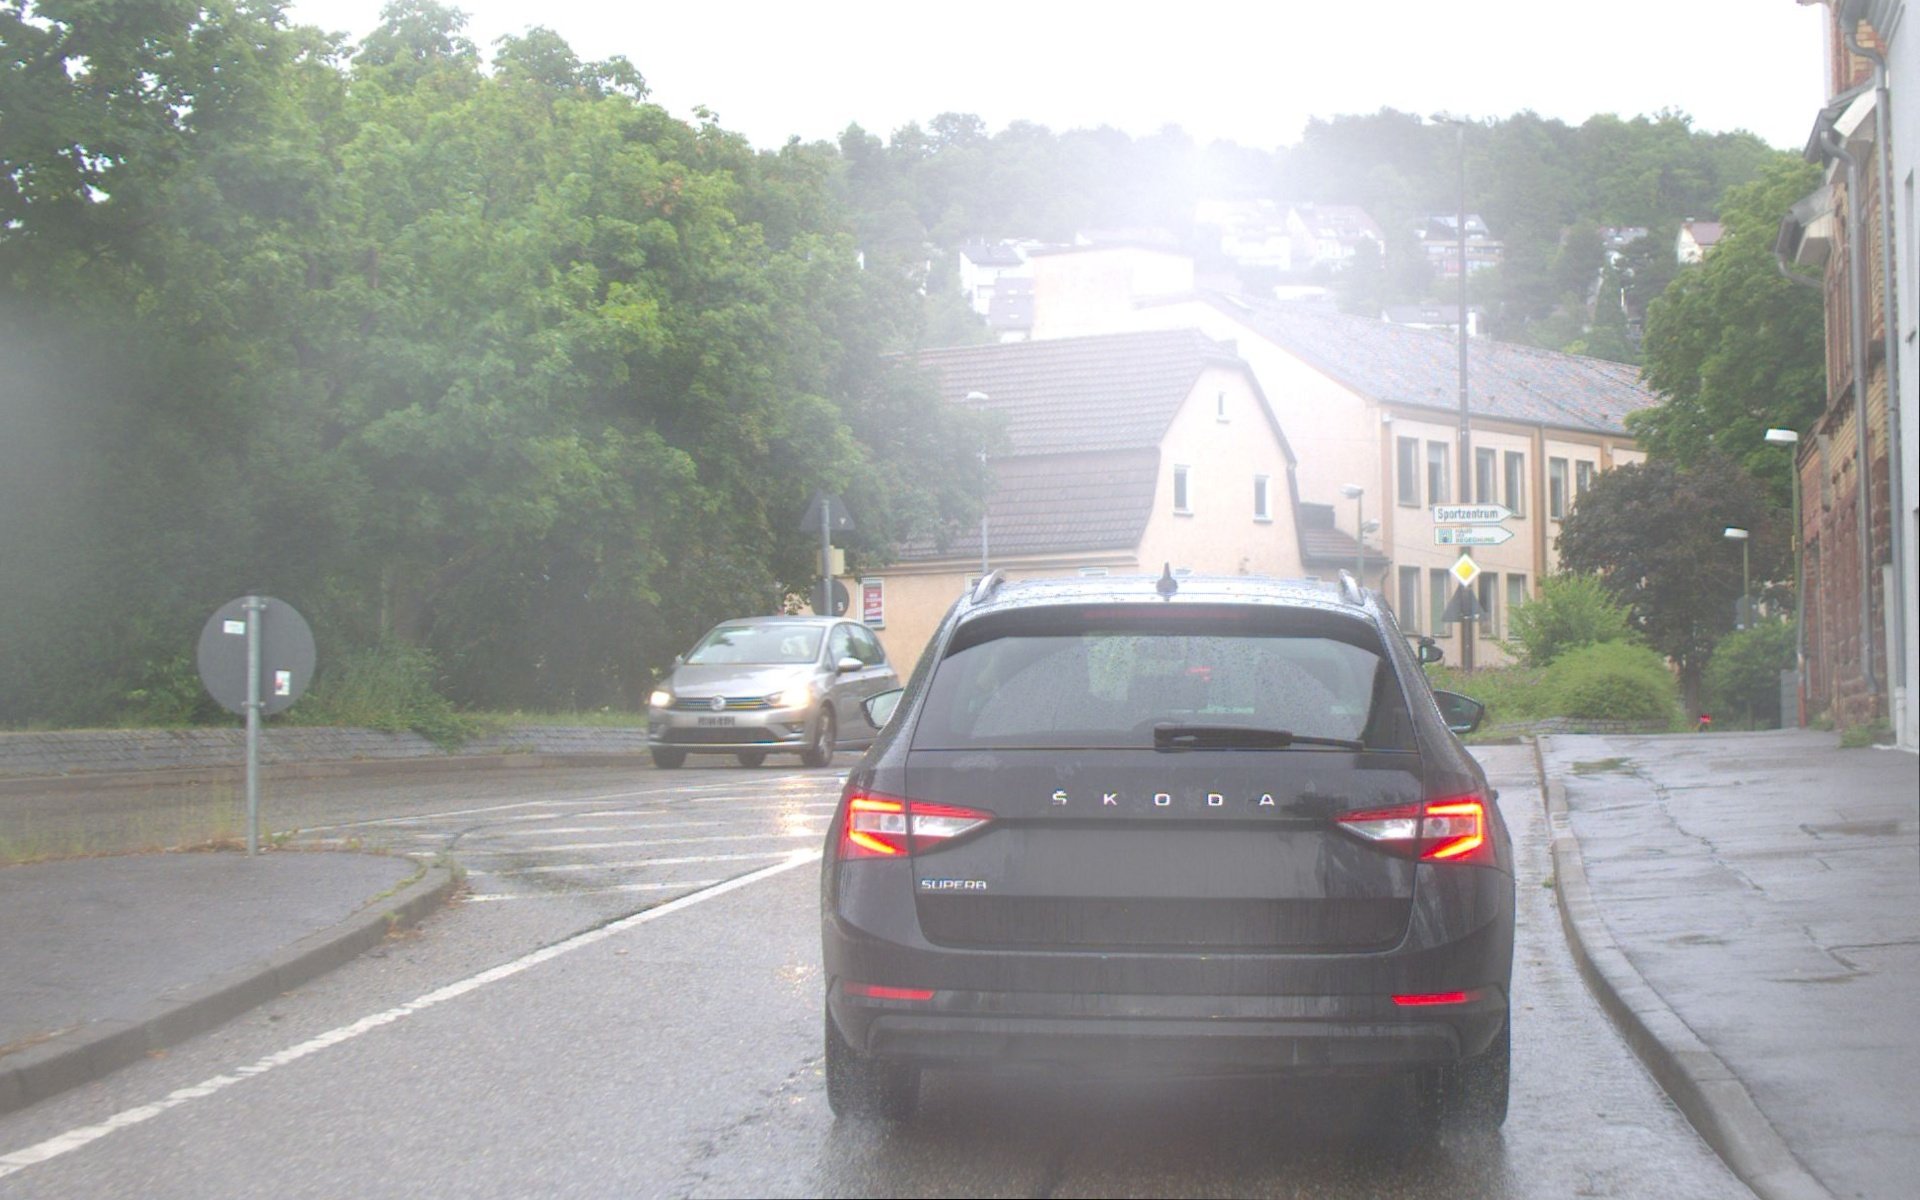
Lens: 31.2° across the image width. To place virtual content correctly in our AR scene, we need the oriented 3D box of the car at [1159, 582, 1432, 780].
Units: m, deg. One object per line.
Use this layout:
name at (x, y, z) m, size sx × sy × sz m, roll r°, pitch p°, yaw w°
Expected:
car at (2.588, 0.652, 25.774) m, size 1.818 × 1.355 × 3.987 m, roll -1°, pitch -3°, yaw 8°

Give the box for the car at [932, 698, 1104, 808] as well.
car at (0.925, 2.277, 51.996) m, size 1.641 × 1.516 × 4.067 m, roll 0°, pitch -1°, yaw 15°

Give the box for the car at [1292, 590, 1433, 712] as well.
car at (5.074, 0.602, 42.980) m, size 1.652 × 1.382 × 3.918 m, roll 1°, pitch 1°, yaw 8°

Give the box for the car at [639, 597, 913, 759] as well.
car at (-1.810, 0.780, 35.172) m, size 1.645 × 1.547 × 4.152 m, roll 0°, pitch -1°, yaw 14°

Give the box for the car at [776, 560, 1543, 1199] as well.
car at (0.563, 0.644, 10.276) m, size 1.782 × 1.478 × 4.245 m, roll 1°, pitch 1°, yaw 3°
